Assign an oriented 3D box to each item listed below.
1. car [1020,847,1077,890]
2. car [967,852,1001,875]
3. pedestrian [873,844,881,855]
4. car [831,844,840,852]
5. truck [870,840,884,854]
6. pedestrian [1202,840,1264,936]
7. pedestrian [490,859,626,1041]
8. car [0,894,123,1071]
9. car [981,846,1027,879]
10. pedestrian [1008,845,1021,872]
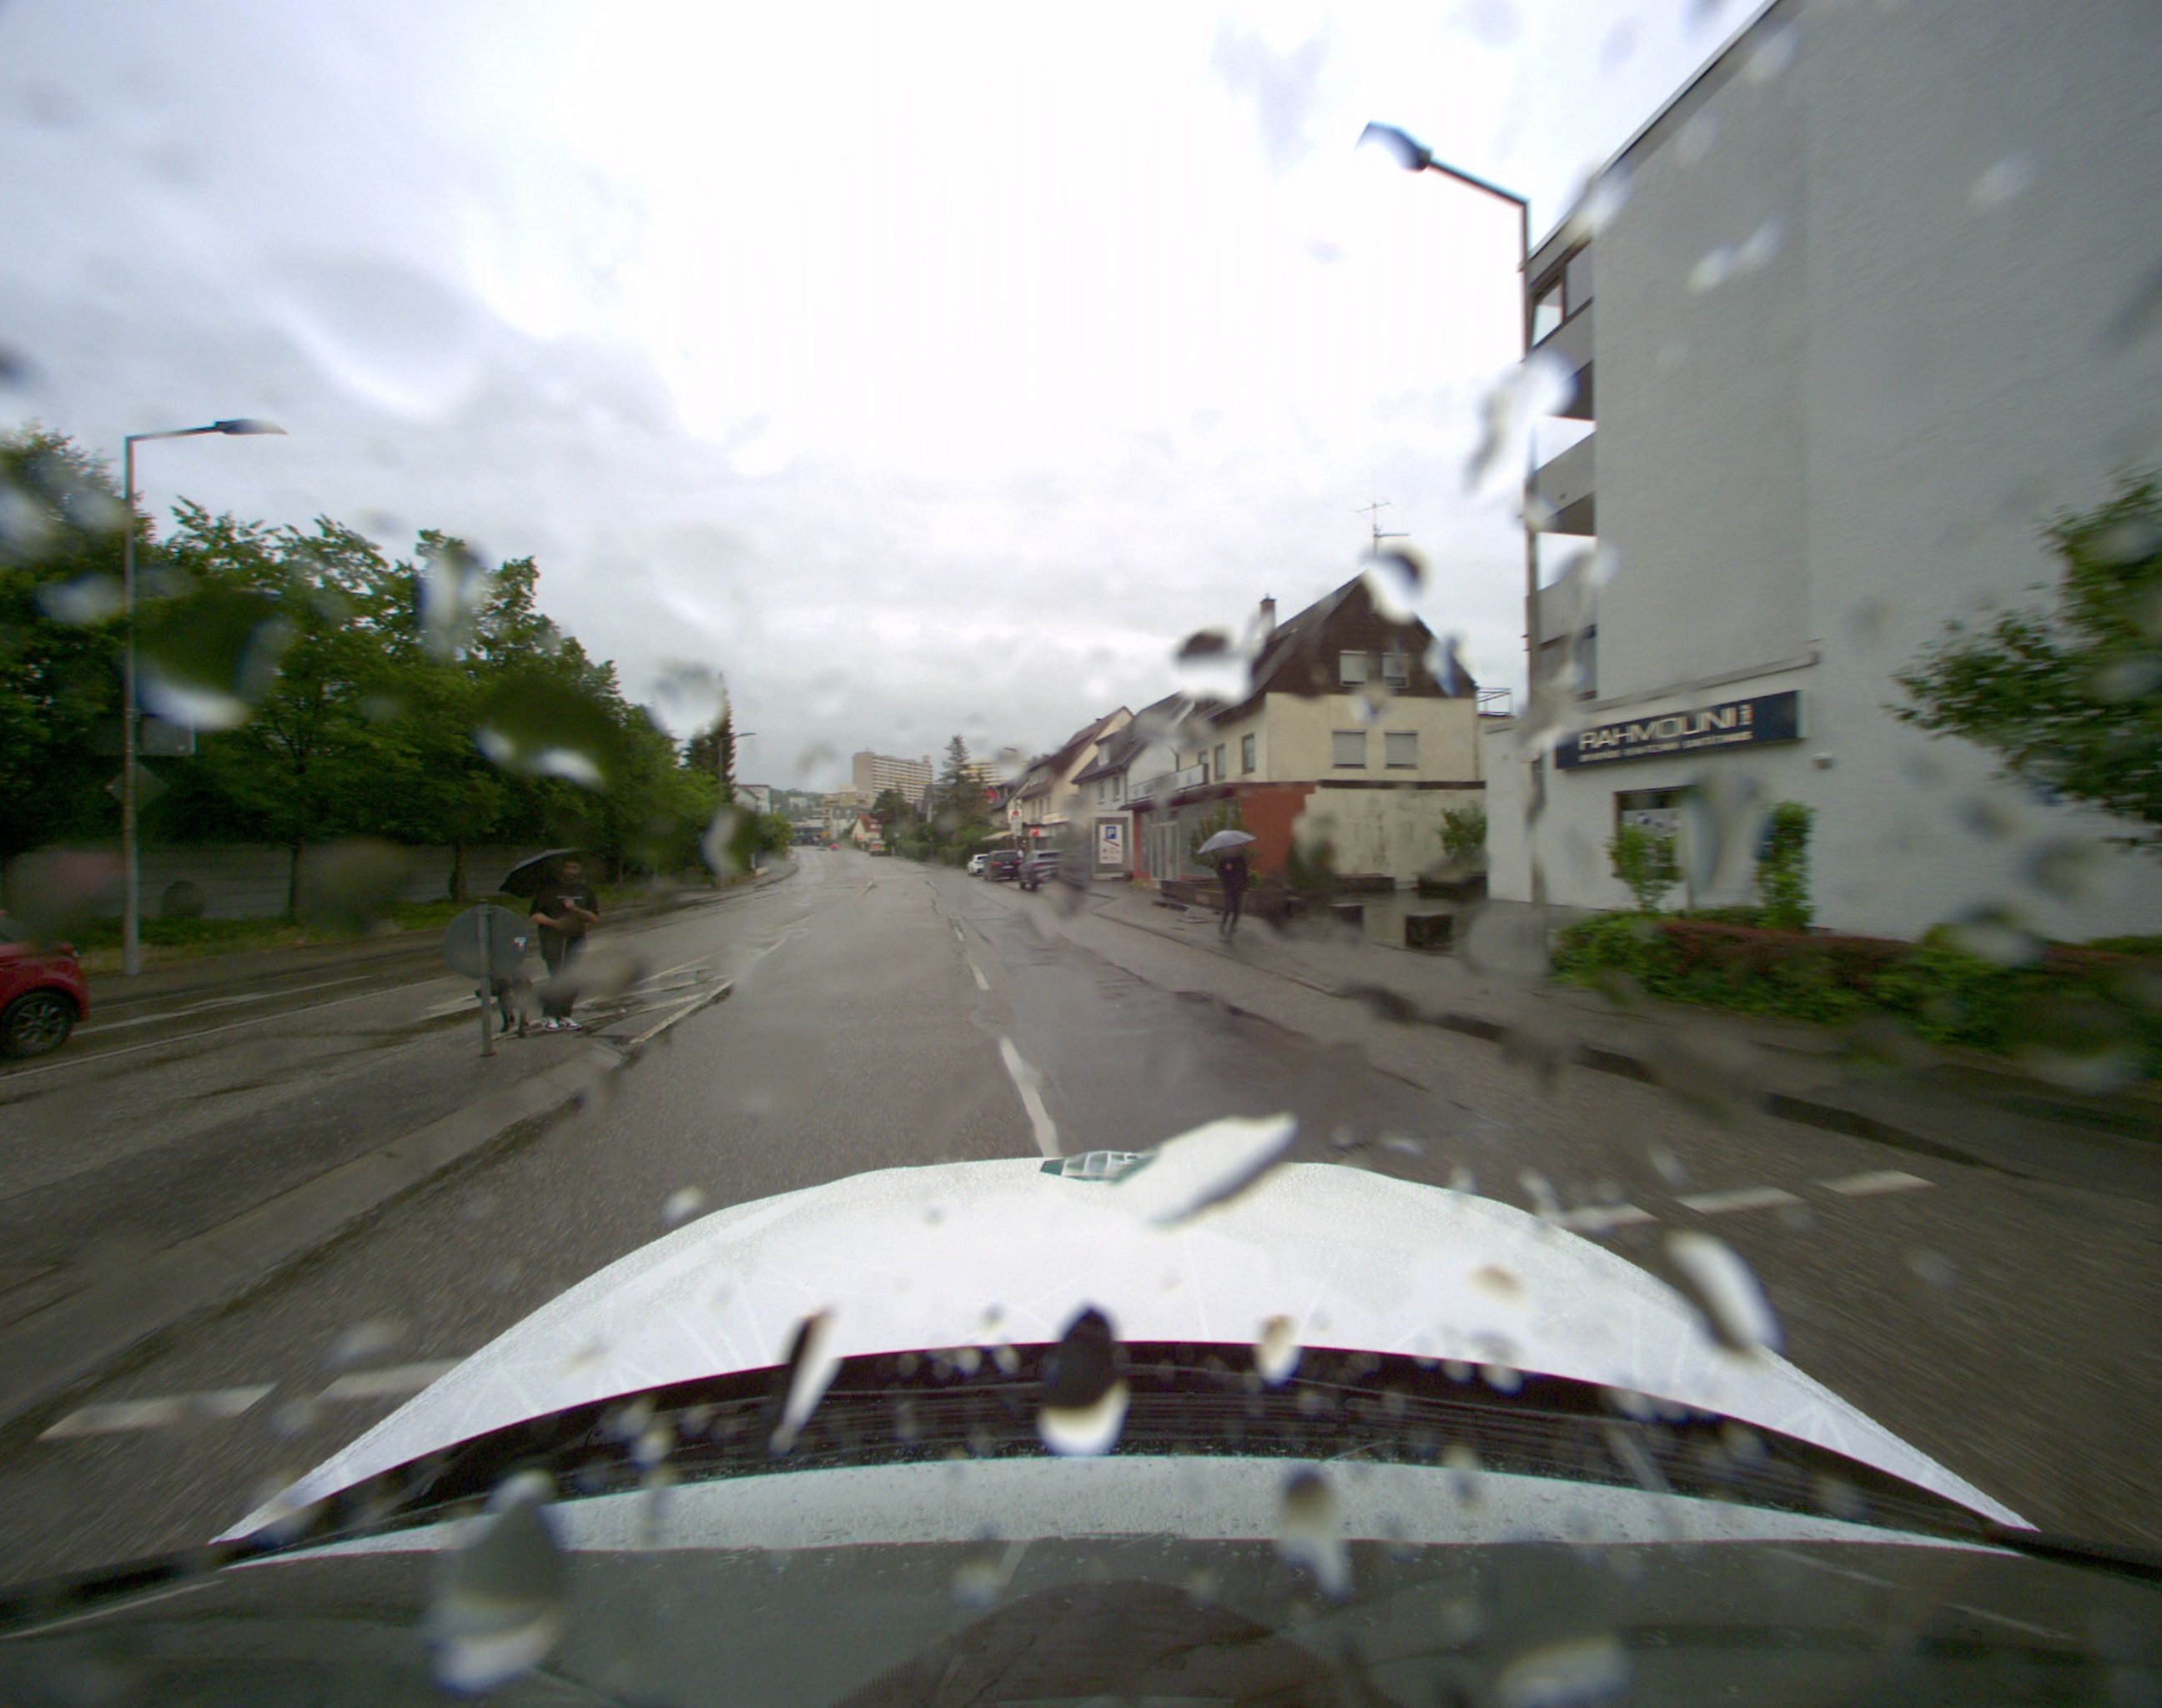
[{"bbox_3d":[-1.469,0.597,35.155,1.874,1.642,4.778,-3,0,-9],"label":"car"},{"bbox_3d":[-6.820,0.648,57.061,1.818,1.448,4.183,-3,1,-14],"label":"car"},{"bbox_3d":[-32.262,-0.741,128.844,0.829,1.797,0.791,-2,1,-37],"label":"pedestrian"},{"bbox_3d":[-55.418,-1.413,184.051,1.799,1.669,3.977,-2,0,-17],"label":"car"},{"bbox_3d":[-33.425,-1.185,133.442,1.997,2.303,3.980,-1,1,-15],"label":"truck"},{"bbox_3d":[2.578,0.566,13.894,0.752,1.568,0.990,1,-1,-9],"label":"pedestrian"},{"bbox_3d":[-5.212,0.904,8.171,0.662,1.702,0.949,0,-1,10],"label":"pedestrian"},{"bbox_3d":[-10.245,1.192,5.983,1.774,1.506,4.093,-4,0,-7],"label":"car"},{"bbox_3d":[-4.589,0.494,47.738,2.037,1.695,4.942,-3,0,-12],"label":"car"},{"bbox_3d":[-4.729,0.303,58.023,0.616,1.891,0.651,-1,0,21],"label":"pedestrian"}]
